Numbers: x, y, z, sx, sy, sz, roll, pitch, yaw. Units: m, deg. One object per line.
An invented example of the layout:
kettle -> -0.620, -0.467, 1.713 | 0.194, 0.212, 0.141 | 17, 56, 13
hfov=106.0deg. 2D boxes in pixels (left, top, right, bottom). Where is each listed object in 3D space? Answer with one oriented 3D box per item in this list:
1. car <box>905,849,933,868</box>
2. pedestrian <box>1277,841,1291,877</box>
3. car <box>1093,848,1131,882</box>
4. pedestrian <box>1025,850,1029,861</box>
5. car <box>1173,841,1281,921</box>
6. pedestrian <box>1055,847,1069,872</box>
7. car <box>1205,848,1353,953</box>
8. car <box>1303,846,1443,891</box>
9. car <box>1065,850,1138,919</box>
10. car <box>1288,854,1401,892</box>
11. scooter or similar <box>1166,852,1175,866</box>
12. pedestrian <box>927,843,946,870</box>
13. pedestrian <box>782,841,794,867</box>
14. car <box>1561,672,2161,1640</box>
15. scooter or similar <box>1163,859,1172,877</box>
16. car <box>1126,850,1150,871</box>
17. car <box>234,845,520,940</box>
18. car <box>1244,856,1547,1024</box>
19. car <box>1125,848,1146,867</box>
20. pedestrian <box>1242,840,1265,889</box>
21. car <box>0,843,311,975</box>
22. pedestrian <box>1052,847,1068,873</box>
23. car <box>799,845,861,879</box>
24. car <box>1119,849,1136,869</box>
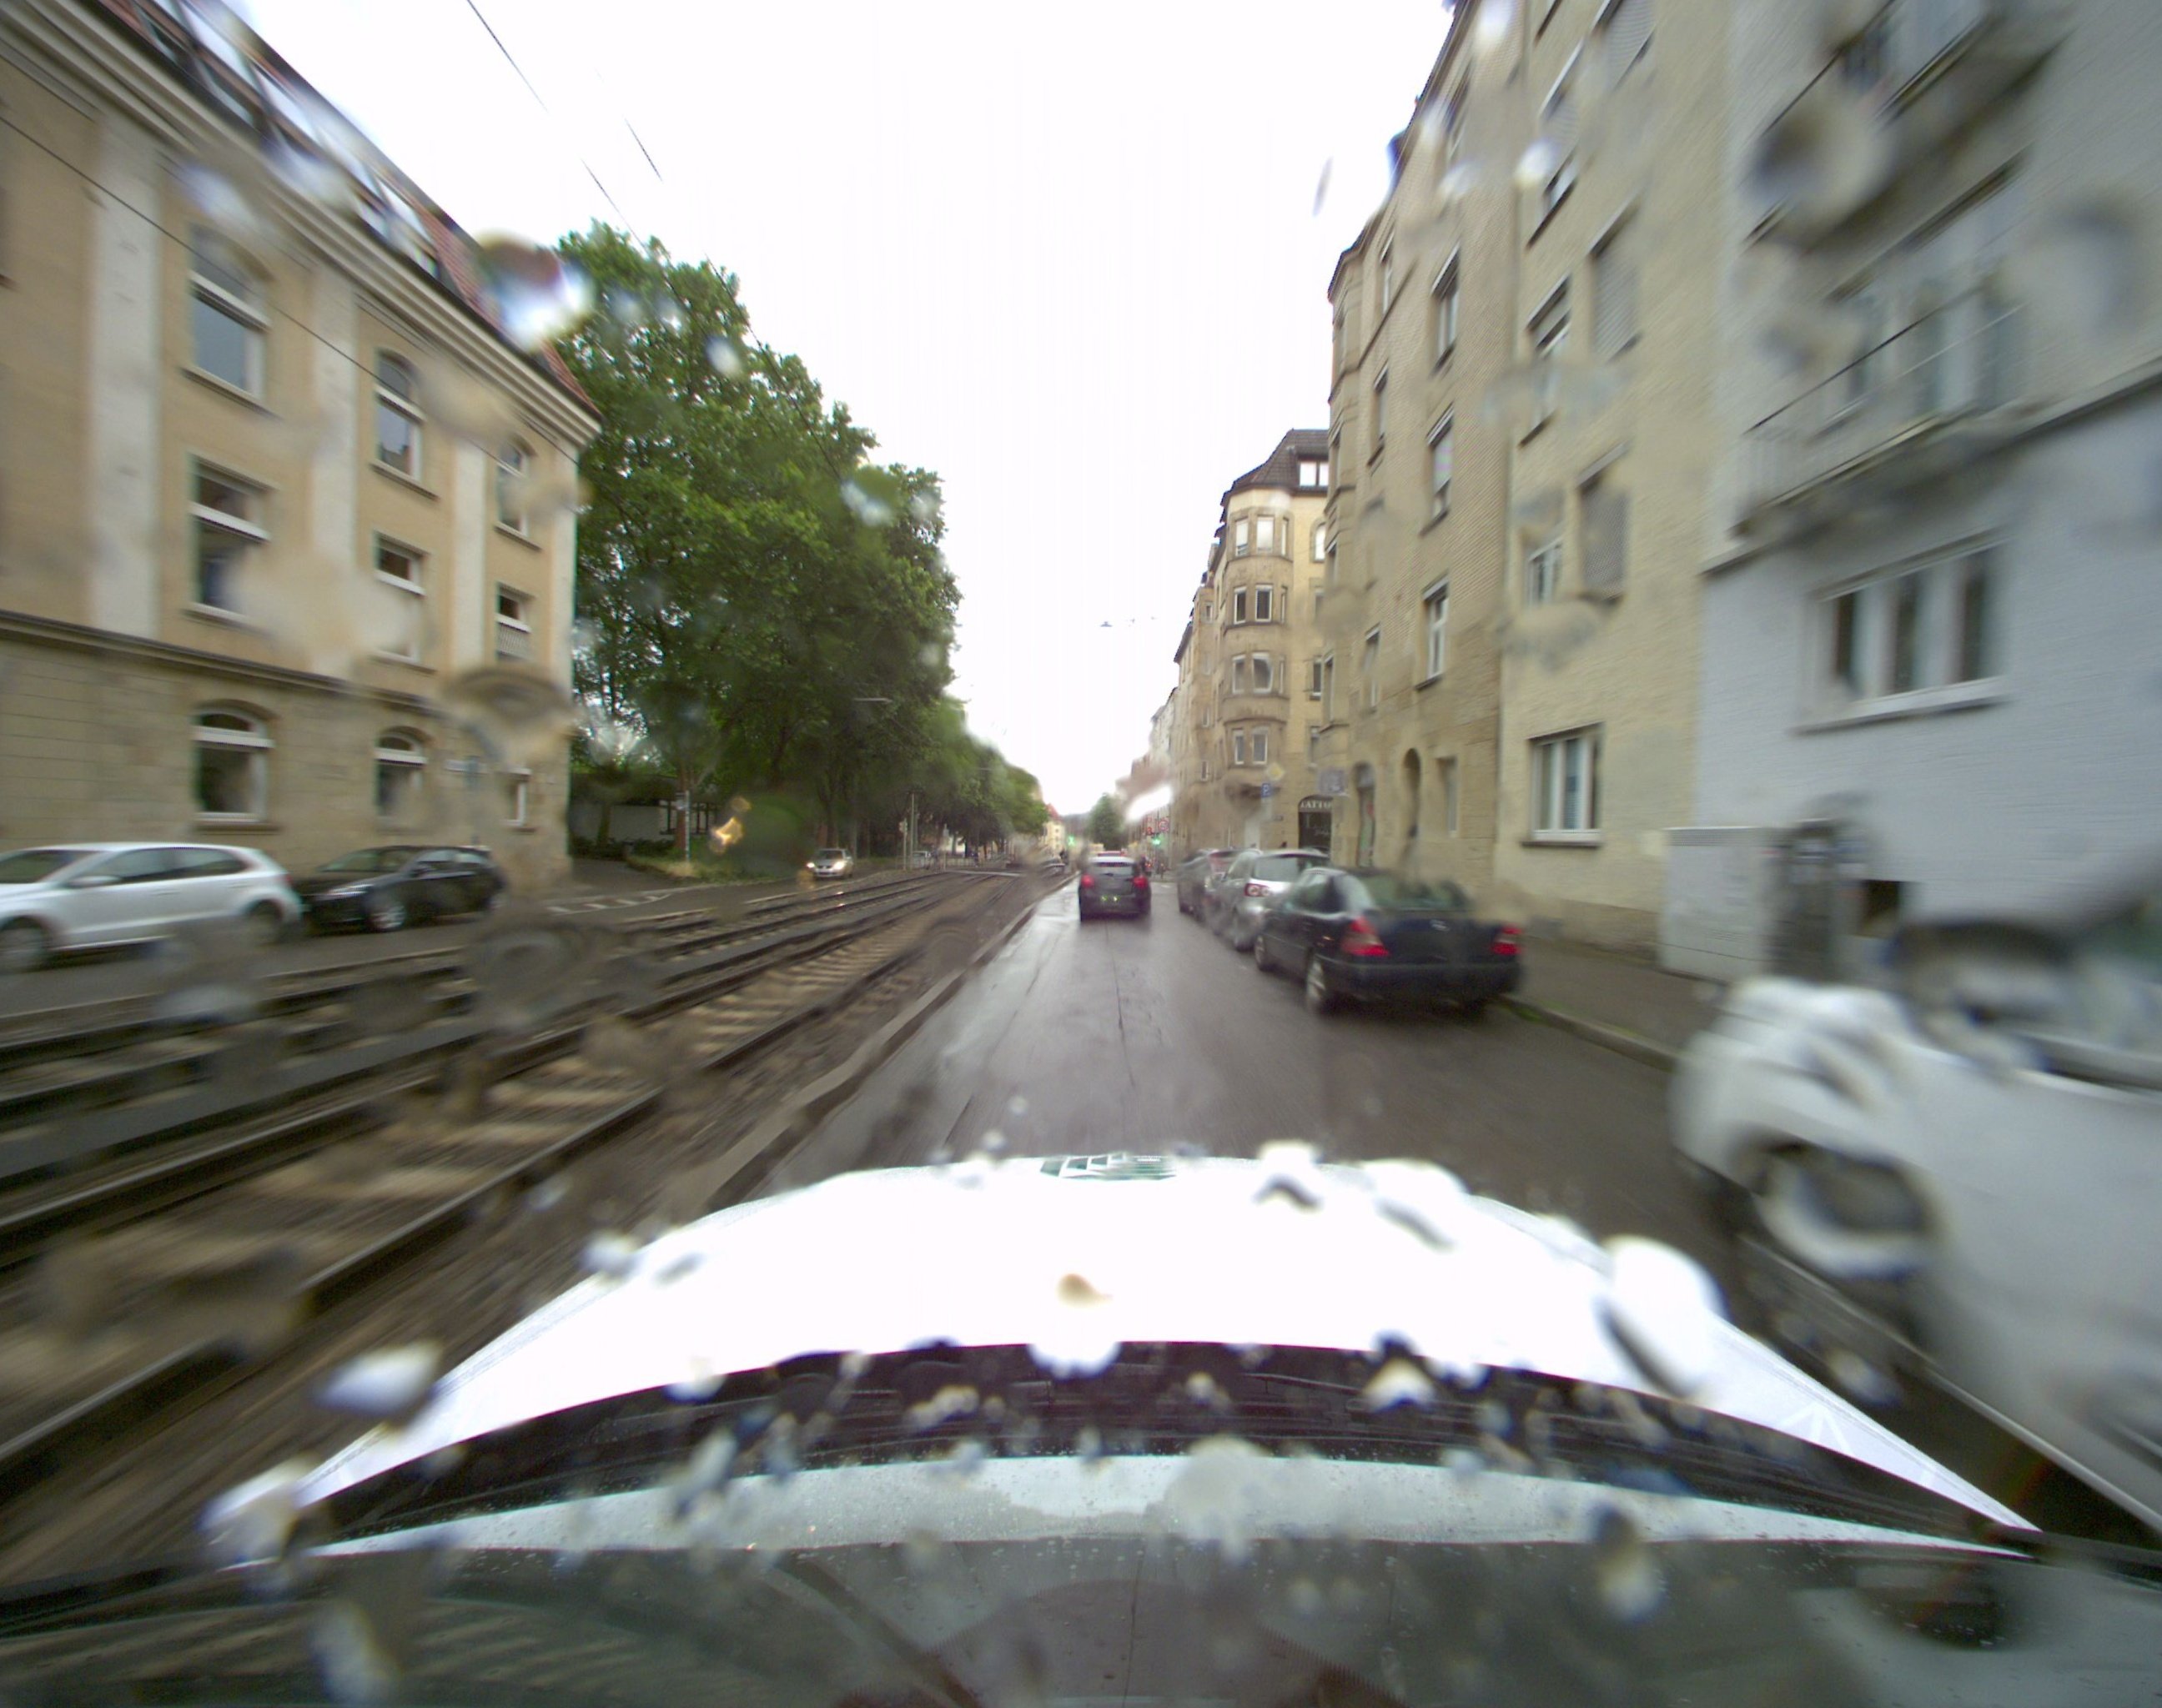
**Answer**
car -> -13.496, 0.343, 67.887 | 1.653, 1.497, 3.784 | 0, 0, -1
pedestrian -> 9.488, 0.227, 38.090 | 0.545, 1.688, 0.627 | 0, 0, 5
car -> 1.500, 0.523, 39.973 | 1.778, 1.581, 4.001 | 0, 0, 1
pedestrian -> -8.397, 0.215, 127.590 | 0.516, 1.717, 0.551 | 2, 0, 1
car -> 3.363, 0.566, 19.549 | 1.761, 1.668, 4.331 | 1, 0, -1
pedestrian -> -1.242, 0.362, 53.371 | 0.803, 1.633, 0.892 | -1, 0, 2
car -> 3.224, 0.677, 13.989 | 1.687, 1.529, 4.002 | 1, 0, 2
car -> 10.506, 0.503, 29.574 | 4.430, 1.484, 1.866 | -1, 0, 4
car -> 0.472, 0.657, 19.468 | 1.574, 1.504, 3.575 | 0, 0, 1
car -> 11.302, 0.813, 35.145 | 4.318, 1.531, 1.893 | -1, 0, 3
scooter or similar -> 8.665, 0.524, 79.003 | 0.448, 1.321, 1.774 | -1, 0, -6
pedestrian -> -9.570, 0.168, 53.988 | 1.050, 1.718, 0.904 | 1, 0, 3
pedestrian -> -19.211, -0.017, 53.448 | 0.694, 1.662, 0.638 | 0, 0, -18
car -> 2.857, 0.552, 1.191 | 1.821, 1.750, 4.469 | 0, 0, 2
scooter or similar -> 6.863, 1.096, 64.429 | 0.447, 1.321, 1.777 | -1, 0, -1
car -> 4.749, 0.531, 68.474 | 1.820, 1.618, 3.866 | -1, 1, 2
car -> -12.085, 0.571, 14.369 | 1.608, 1.429, 3.853 | 0, 1, 1
car -> 3.099, 0.731, 9.089 | 1.711, 1.347, 4.462 | 1, 0, 1
car -> 4.864, 0.291, 73.058 | 1.753, 1.579, 4.001 | -1, 1, 1
pedestrian -> 6.535, 0.395, 30.885 | 0.692, 1.787, 0.758 | -2, 0, 0
car -> -12.133, 0.595, 9.954 | 1.494, 1.391, 3.990 | -2, 0, 3
pedestrian -> -1.663, 0.460, 64.124 | 1.135, 1.998, 1.171 | -1, 0, -3
car -> -11.780, 0.342, 38.515 | 1.814, 1.504, 4.626 | 1, 0, -4
car -> 5.015, 0.545, 88.212 | 1.753, 2.013, 4.001 | -1, 1, 1
